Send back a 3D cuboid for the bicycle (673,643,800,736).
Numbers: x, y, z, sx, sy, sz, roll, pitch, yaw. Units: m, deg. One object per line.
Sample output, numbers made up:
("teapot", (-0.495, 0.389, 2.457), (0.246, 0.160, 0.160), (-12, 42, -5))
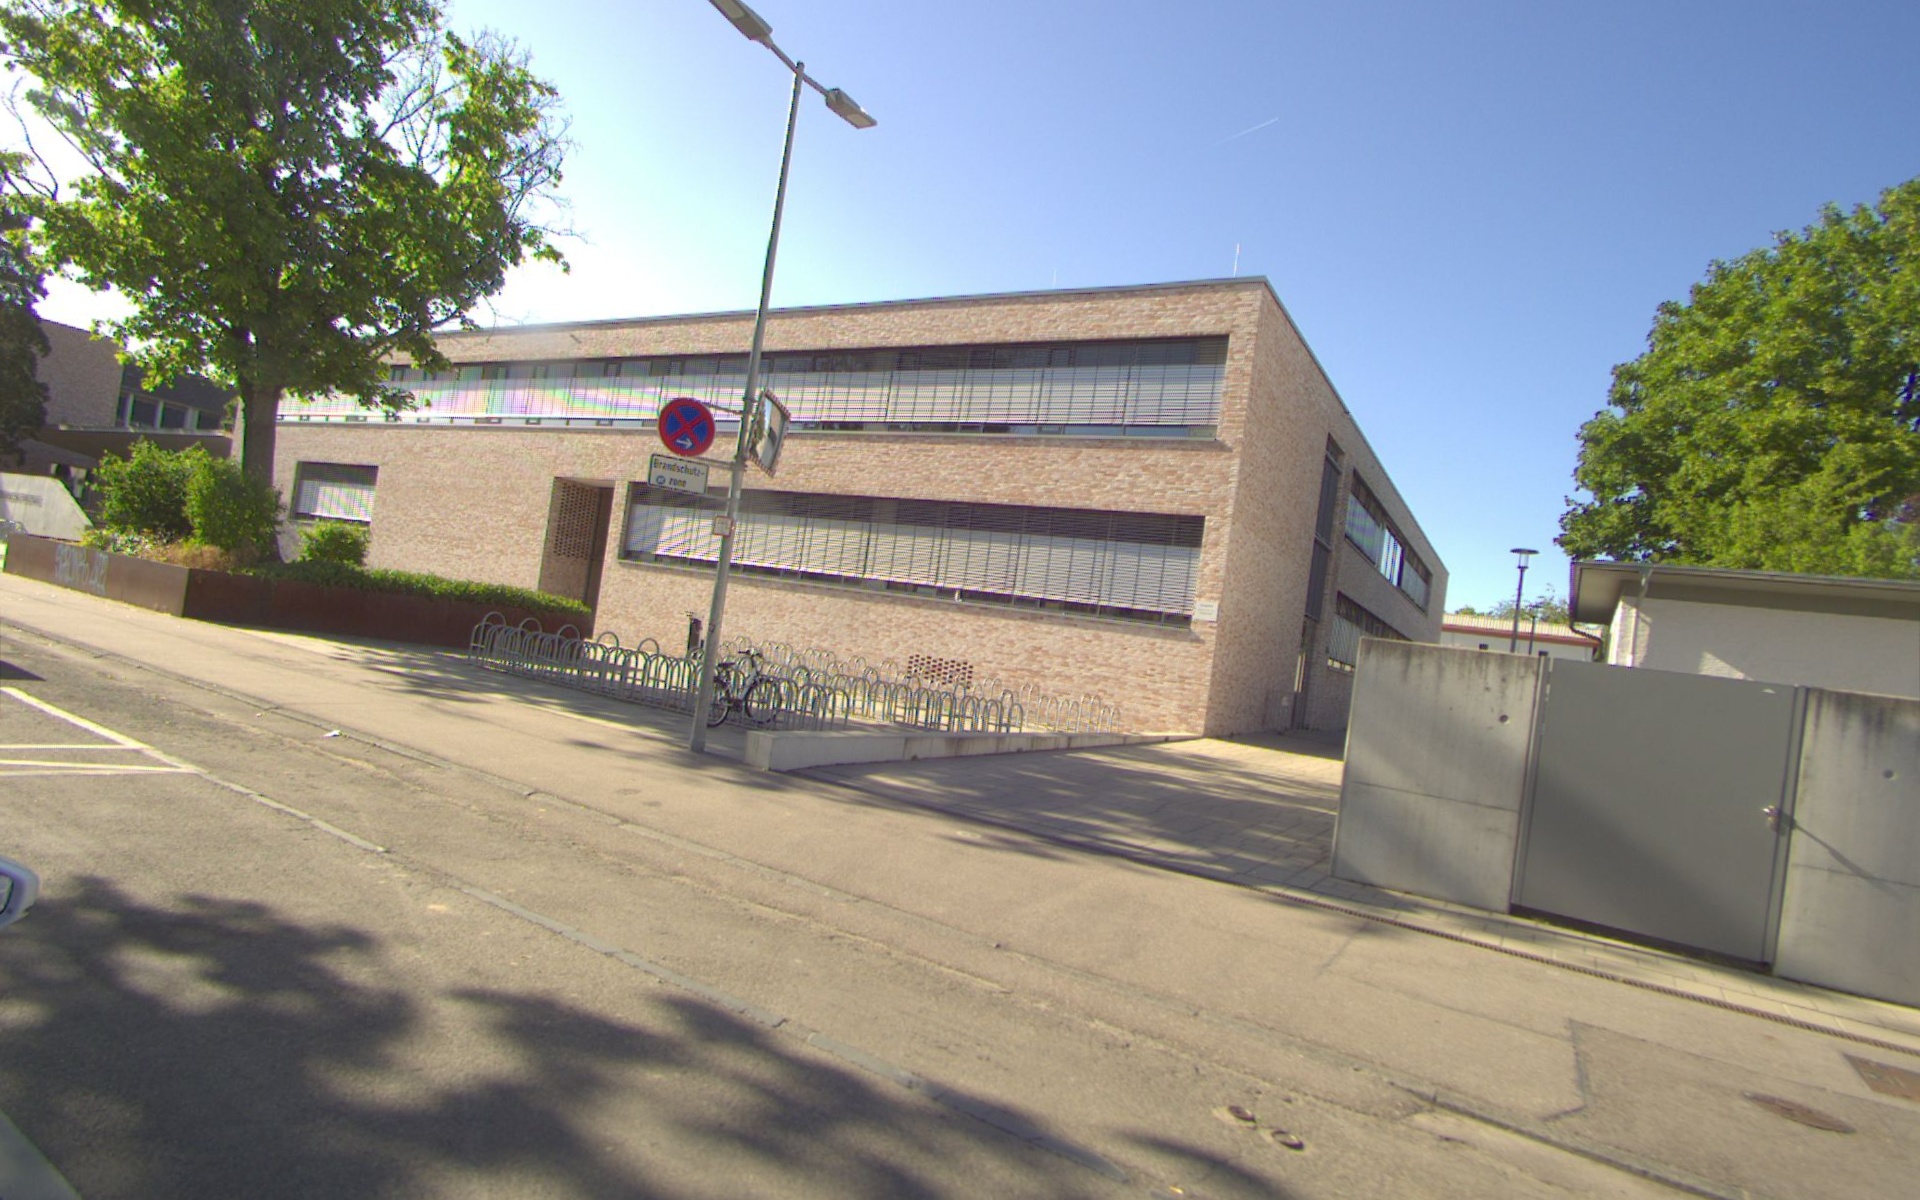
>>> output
("bicycle", (-2.879, 1.192, 13.118), (0.492, 1.040, 1.674), (7, -4, 30))
